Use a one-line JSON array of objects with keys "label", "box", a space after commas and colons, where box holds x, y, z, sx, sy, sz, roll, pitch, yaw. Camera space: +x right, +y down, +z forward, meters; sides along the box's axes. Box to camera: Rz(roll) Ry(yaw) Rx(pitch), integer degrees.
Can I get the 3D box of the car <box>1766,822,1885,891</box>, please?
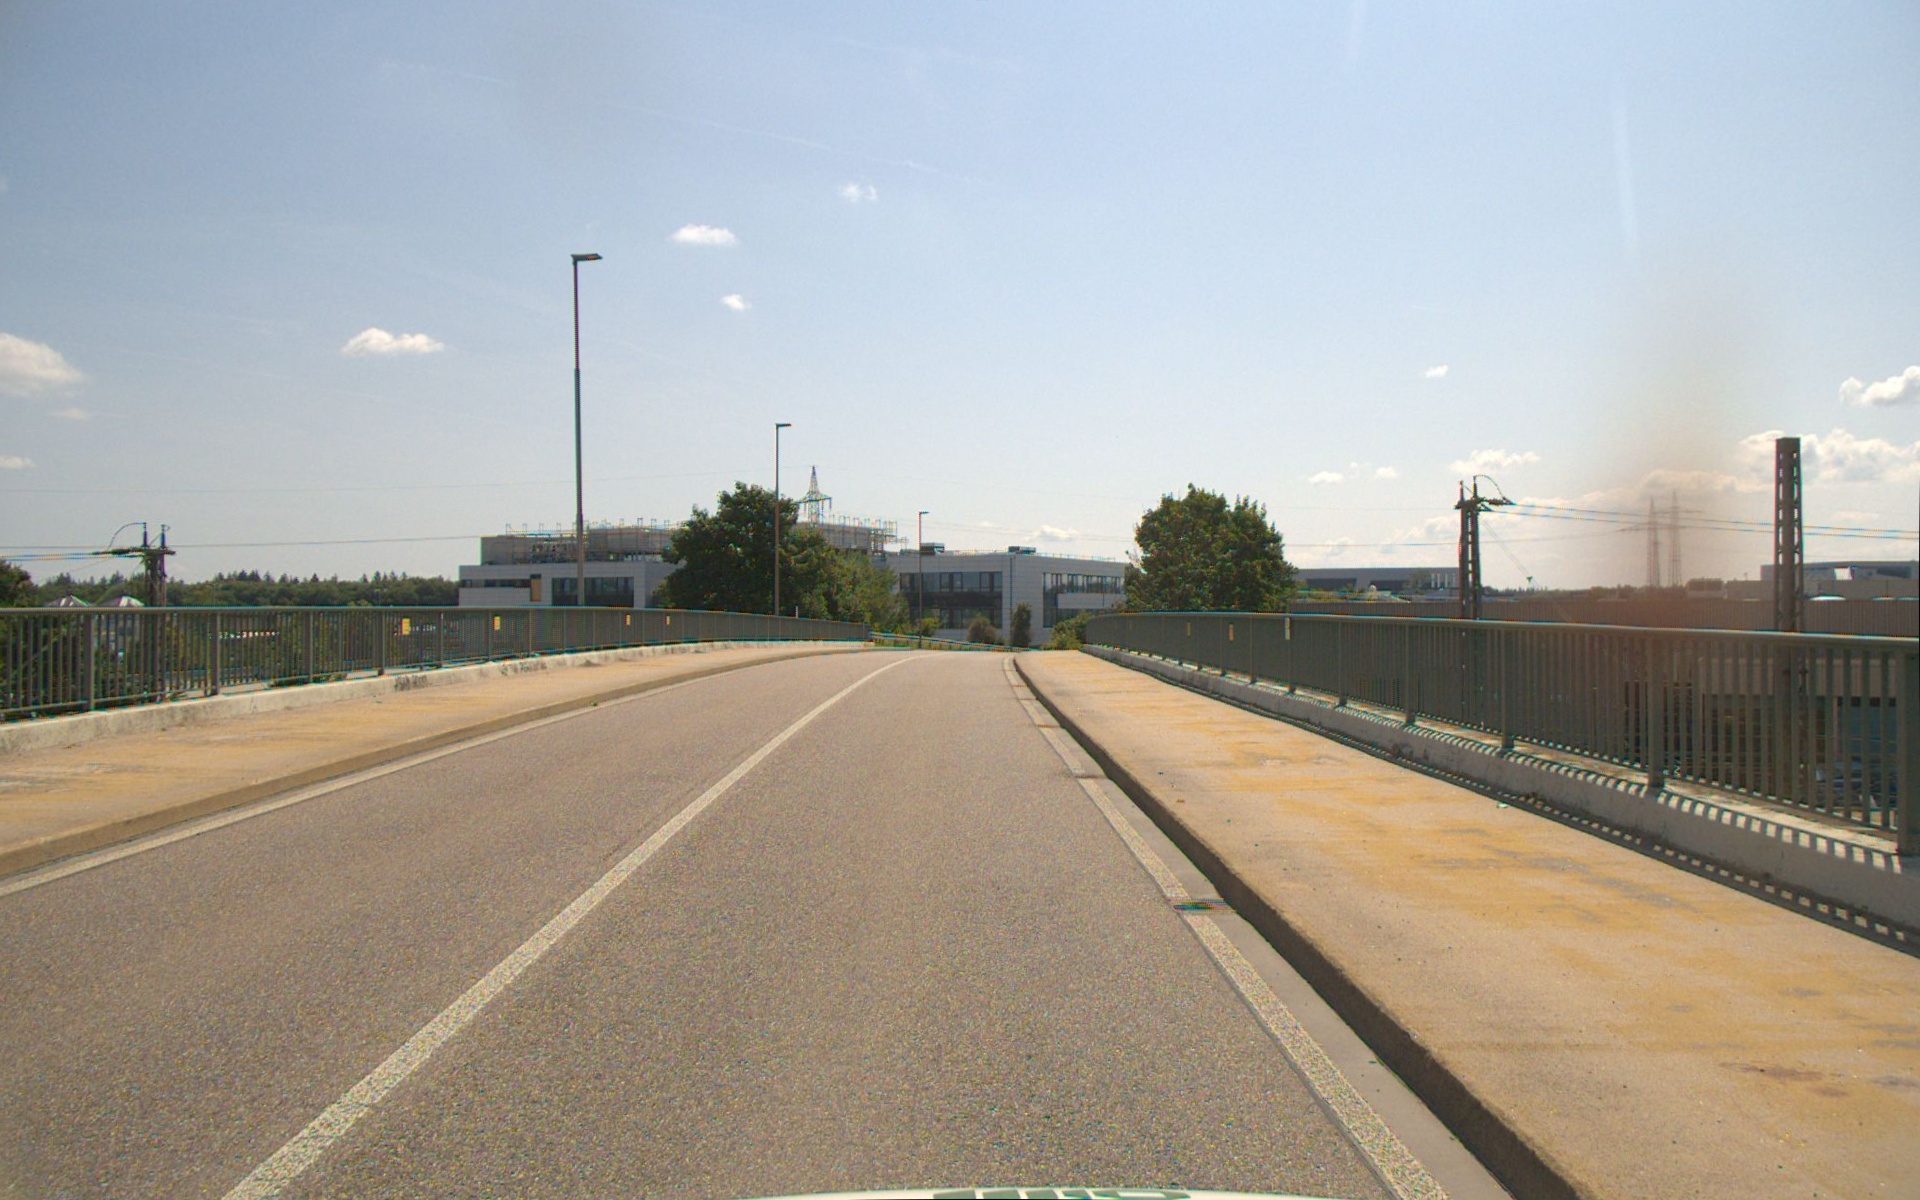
[{"label": "car", "box": [29.879, 8.836, 57.261, 1.952, 1.623, 4.245, 4, 0, 2]}]
